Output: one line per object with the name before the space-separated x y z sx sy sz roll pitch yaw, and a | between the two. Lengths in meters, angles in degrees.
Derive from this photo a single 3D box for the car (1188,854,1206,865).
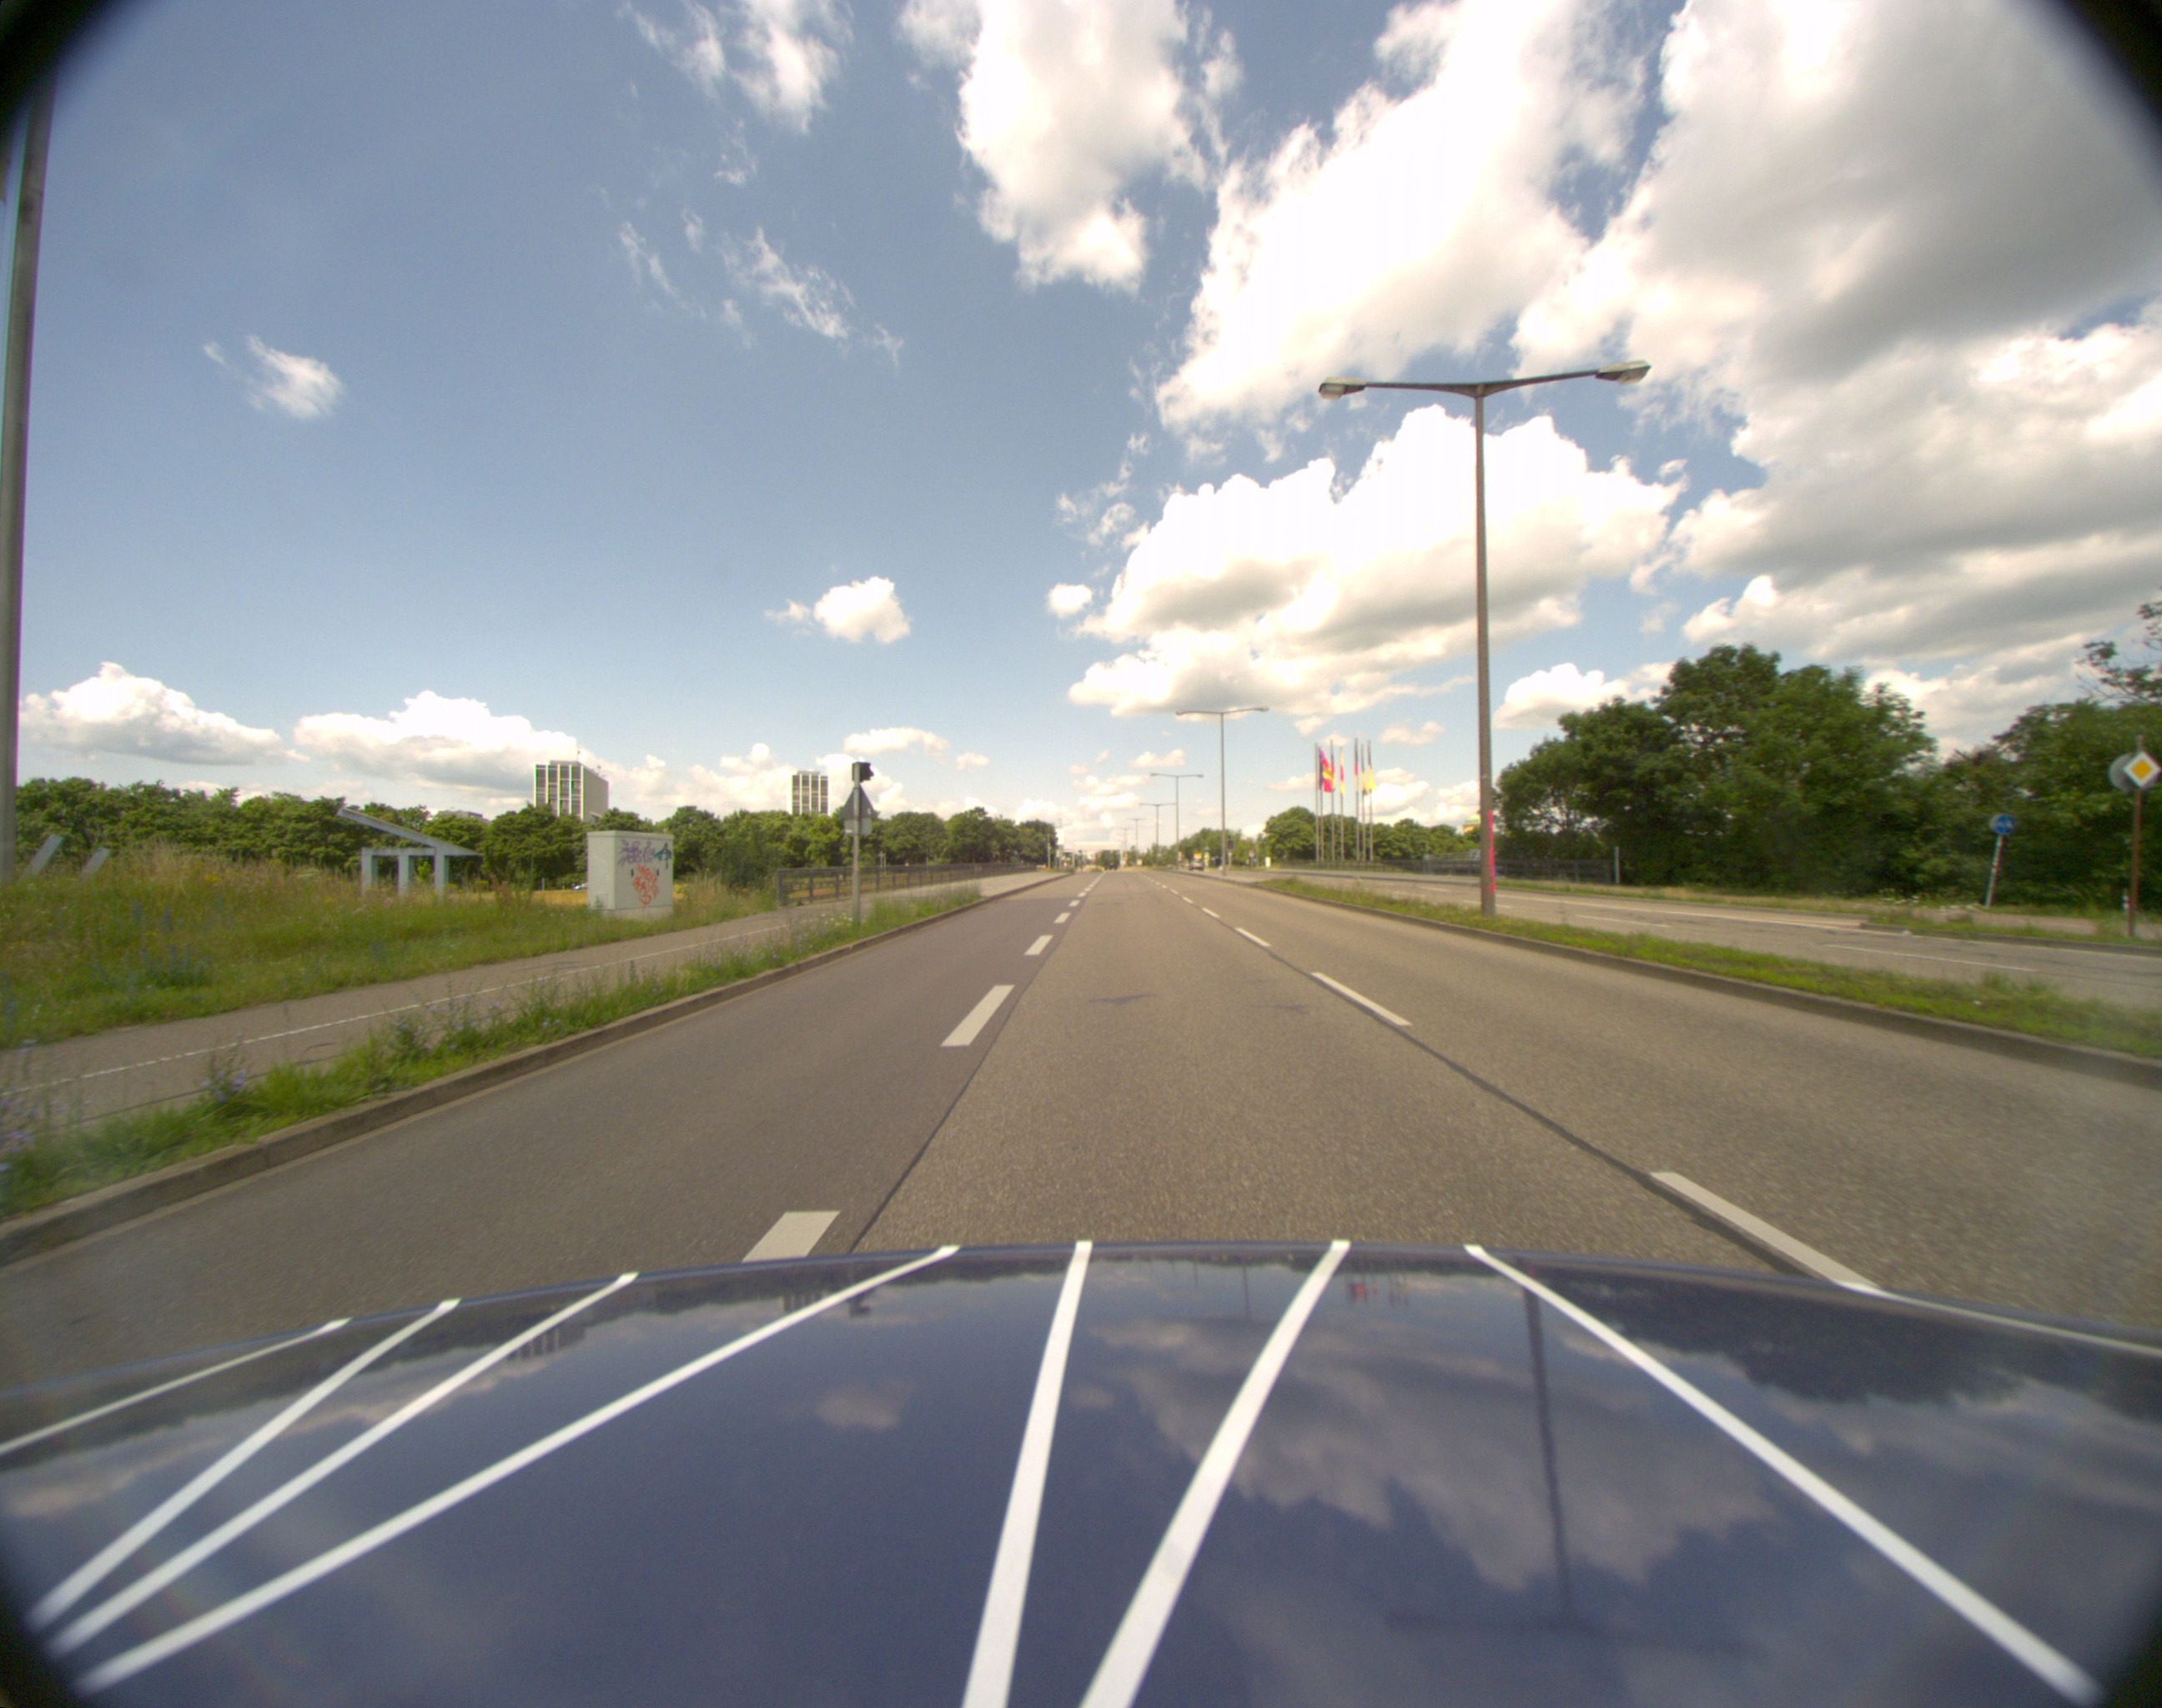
car | 18.482 0.946 121.232 2.093 1.616 4.550 4 -1 -1
